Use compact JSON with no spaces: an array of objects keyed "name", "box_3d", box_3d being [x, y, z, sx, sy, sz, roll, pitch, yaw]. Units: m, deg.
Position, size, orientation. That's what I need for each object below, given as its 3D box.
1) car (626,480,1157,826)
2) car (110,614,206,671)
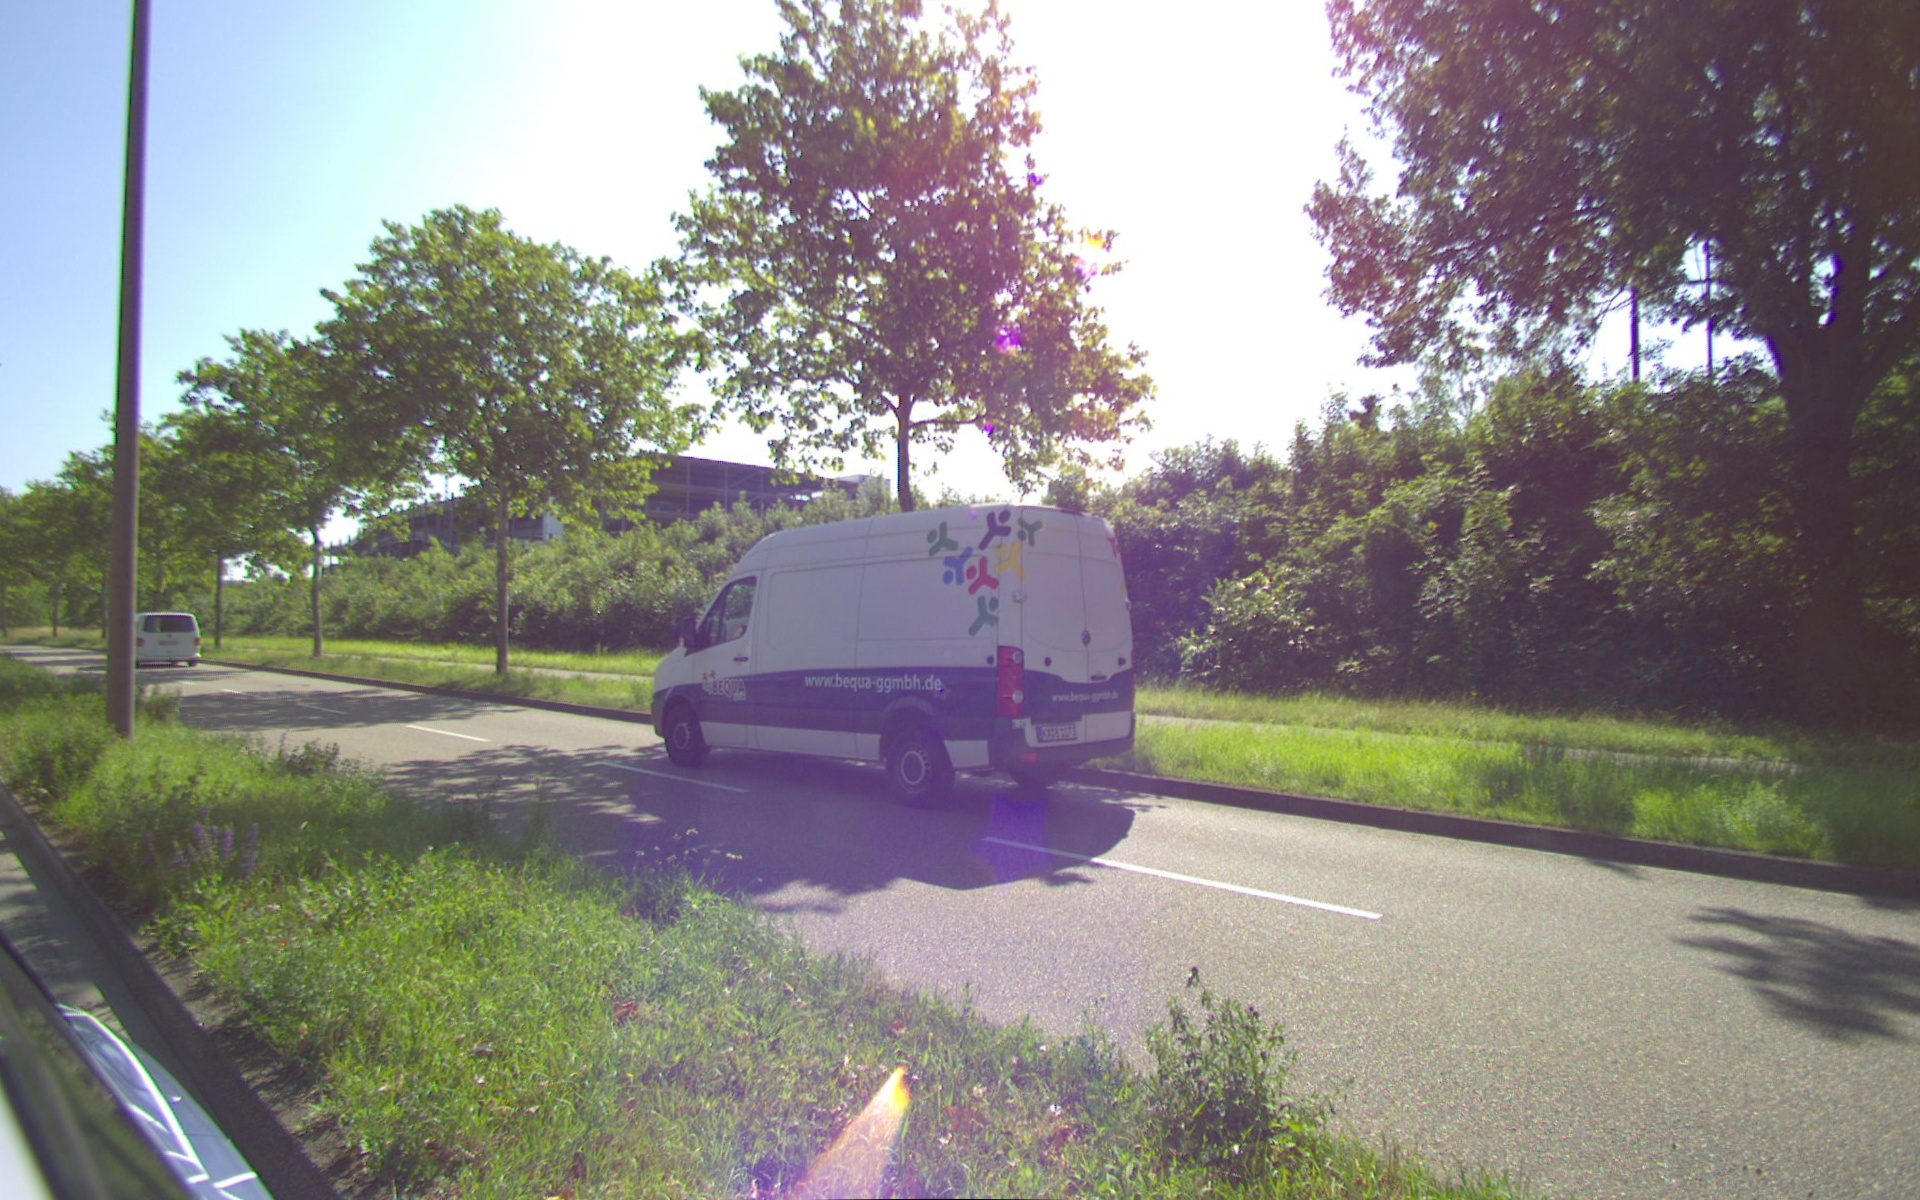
[{"name":"car","box_3d":[-0.996,0.487,10.505,5.783,2.683,1.973,-1,-3,41]},{"name":"car","box_3d":[-28.640,1.503,36.093,4.574,1.912,1.972,-1,-4,43]}]
